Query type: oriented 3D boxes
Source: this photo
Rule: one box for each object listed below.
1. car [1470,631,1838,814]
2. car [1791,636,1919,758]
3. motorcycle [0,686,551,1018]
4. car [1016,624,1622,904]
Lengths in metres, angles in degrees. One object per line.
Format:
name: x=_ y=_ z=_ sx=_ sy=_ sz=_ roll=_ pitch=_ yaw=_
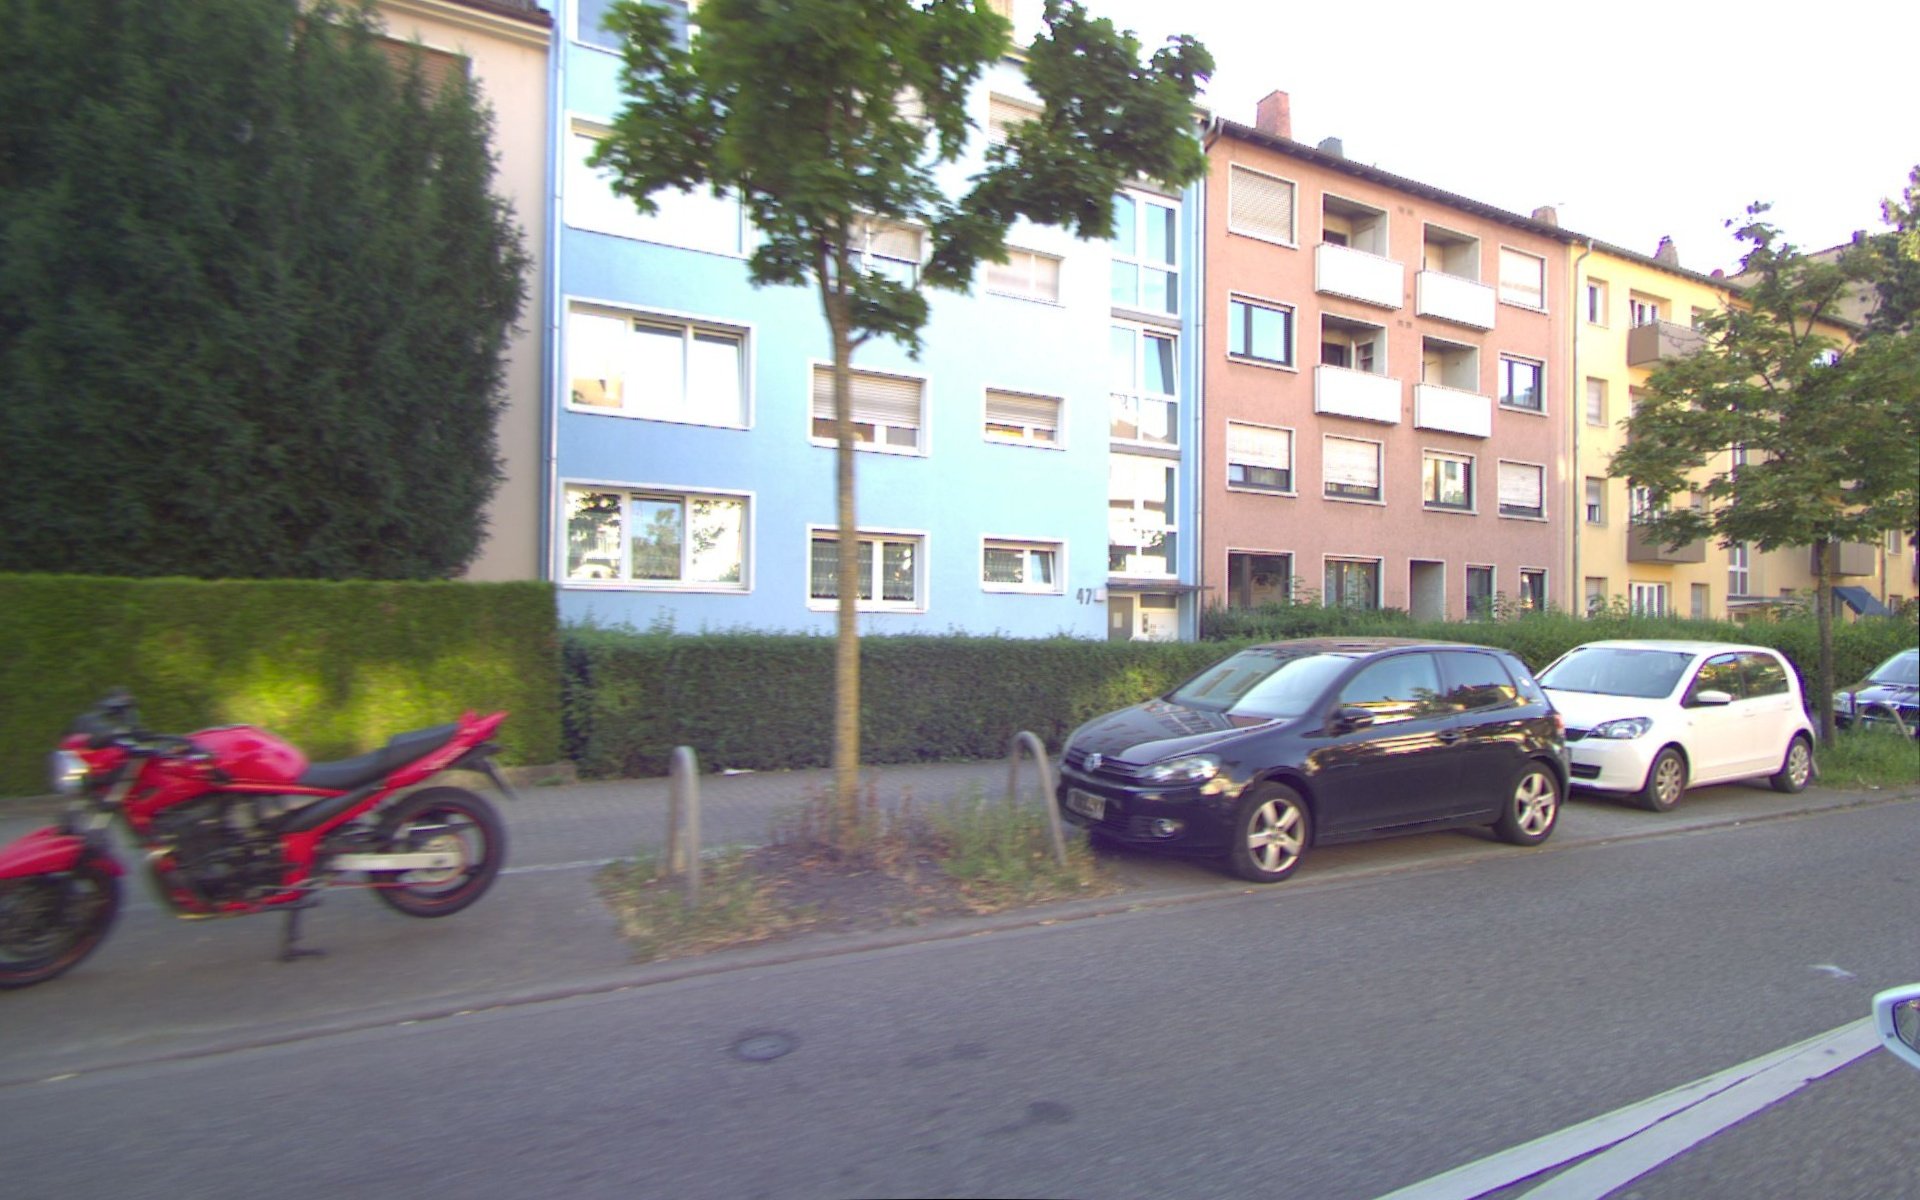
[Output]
car: x=6.982 y=1.116 z=10.060 sx=3.597 sy=1.512 sz=1.584 roll=2 pitch=-1 yaw=-29
car: x=13.404 y=1.238 z=13.483 sx=4.403 sy=1.467 sz=1.986 roll=2 pitch=-2 yaw=-28
motorcycle: x=-3.037 y=1.016 z=4.500 sx=2.148 sy=1.151 sz=0.635 roll=1 pitch=1 yaw=-31
car: x=2.719 y=0.993 z=7.484 sx=4.260 sy=1.538 sz=1.831 roll=1 pitch=0 yaw=-27
